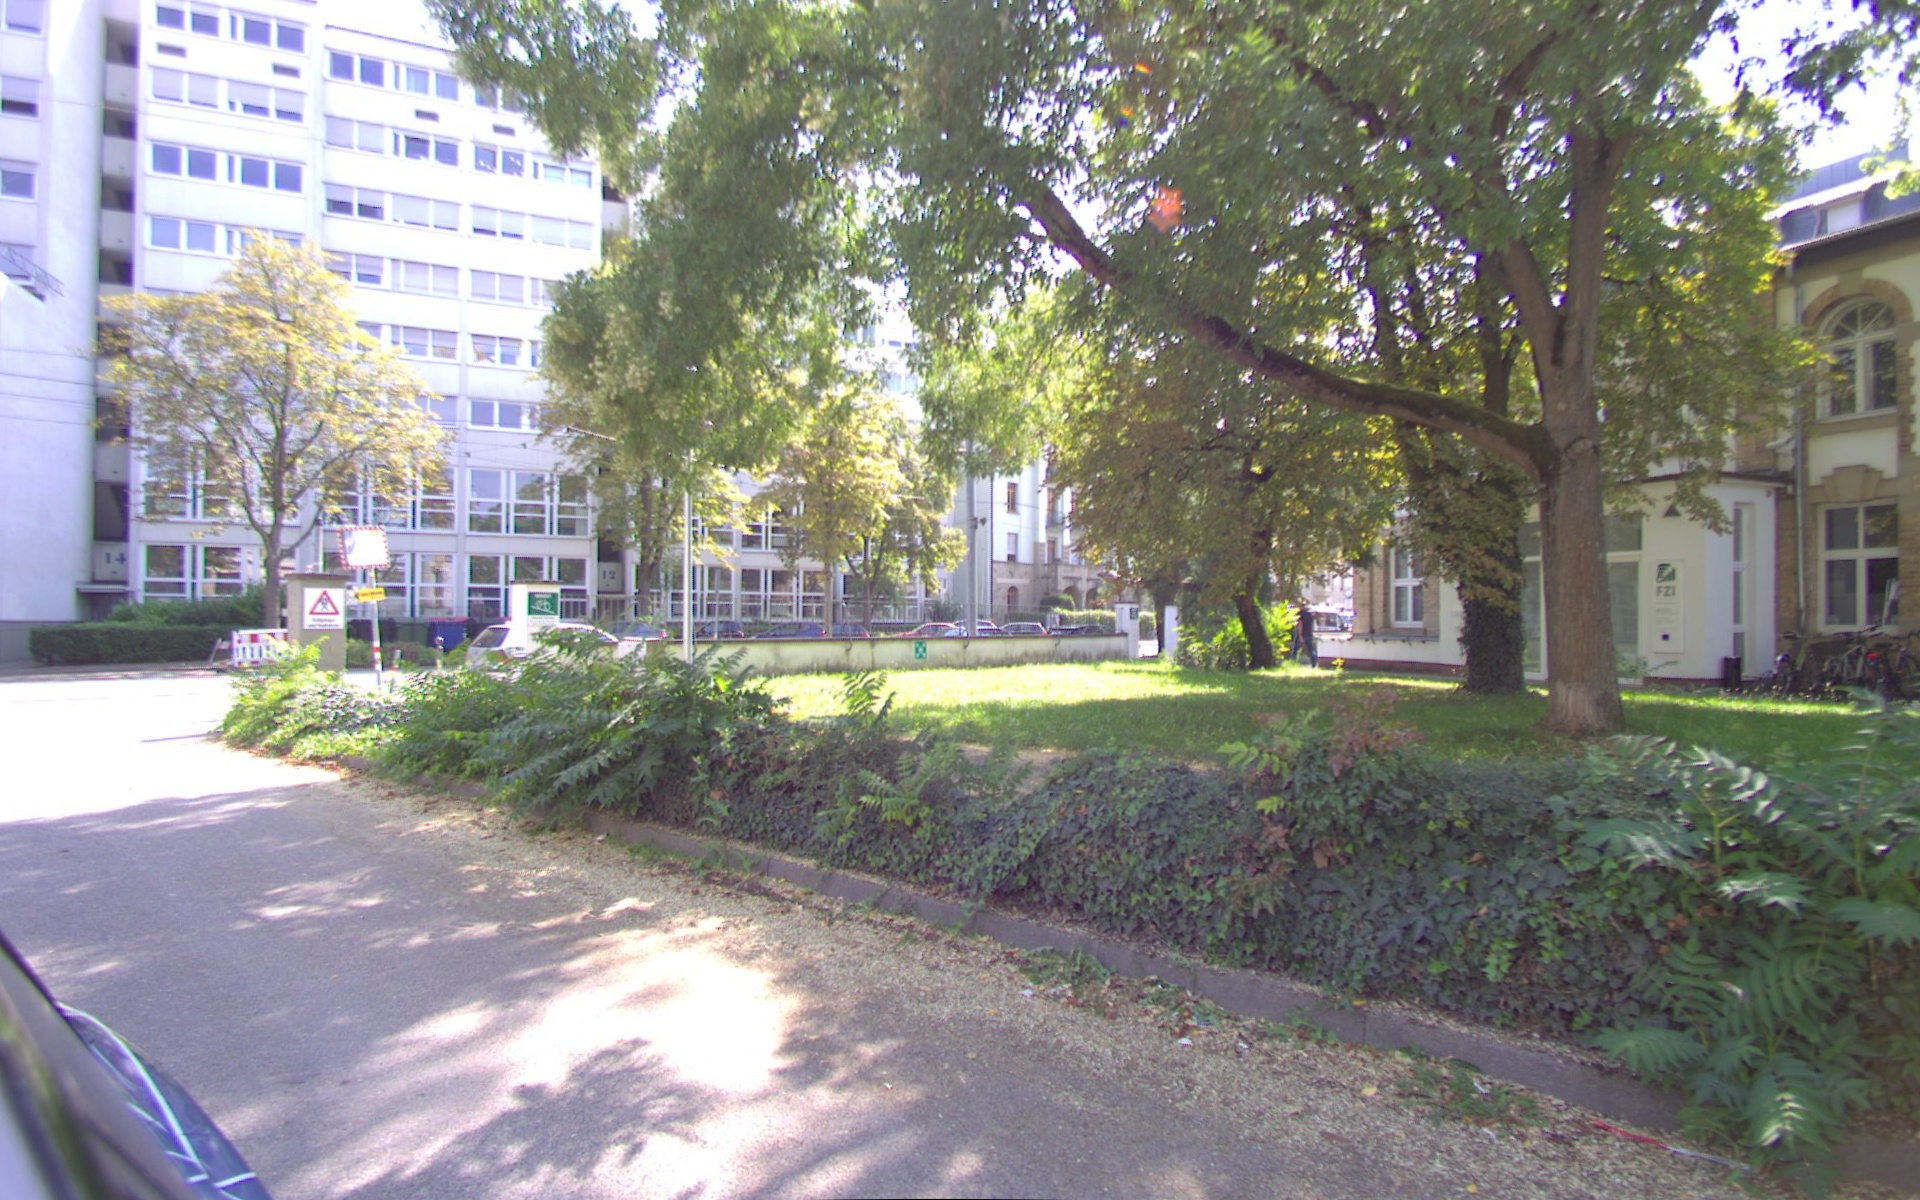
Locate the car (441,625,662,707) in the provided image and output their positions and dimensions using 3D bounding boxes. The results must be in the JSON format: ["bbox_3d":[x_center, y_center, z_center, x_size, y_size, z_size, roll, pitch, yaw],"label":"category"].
[{"bbox_3d":[-8.042,1.255,20.136,1.797,1.457,3.681,-3,-3,42],"label":"car"}]

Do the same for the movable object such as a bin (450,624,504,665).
[{"bbox_3d":[-19.251,1.758,40.371,1.686,1.571,1.336,-2,-2,39],"label":"movable object such as a bin"}]

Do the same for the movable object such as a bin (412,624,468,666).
[{"bbox_3d":[-20.080,1.723,39.063,1.686,1.571,1.336,-2,-2,39],"label":"movable object such as a bin"}]

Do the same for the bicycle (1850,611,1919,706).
[{"bbox_3d":[14.265,0.845,14.787,2.482,1.312,0.774,1,-2,-20],"label":"bicycle"}]

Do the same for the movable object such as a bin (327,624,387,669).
[{"bbox_3d":[-21.720,1.649,36.473,1.686,1.571,1.336,-2,-2,39],"label":"movable object such as a bin"}]

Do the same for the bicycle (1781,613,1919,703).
[{"bbox_3d":[13.834,0.875,15.487,2.482,1.312,0.774,1,-2,-20],"label":"bicycle"}]

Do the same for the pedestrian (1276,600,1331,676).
[{"bbox_3d":[8.546,0.948,25.214,0.723,1.842,1.134,1,-2,-21],"label":"pedestrian"}]

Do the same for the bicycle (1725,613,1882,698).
[{"bbox_3d":[13.647,0.882,16.369,2.482,1.312,0.774,1,-2,-20],"label":"bicycle"}]

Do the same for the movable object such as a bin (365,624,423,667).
[{"bbox_3d":[-21.175,1.691,37.864,1.686,1.571,1.336,-2,-2,39],"label":"movable object such as a bin"}]

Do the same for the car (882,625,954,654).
[{"bbox_3d":[-2.161,2.018,52.087,3.618,1.463,1.677,1,-2,-1],"label":"car"}]

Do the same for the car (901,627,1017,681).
[{"bbox_3d":[0.014,1.594,30.817,1.645,1.523,3.592,-1,-2,40],"label":"car"}]

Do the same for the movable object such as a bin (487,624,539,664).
[{"bbox_3d":[-18.317,1.786,41.489,1.686,1.571,1.336,-2,-2,39],"label":"movable object such as a bin"}]

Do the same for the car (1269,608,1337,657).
[{"bbox_3d":[17.523,1.630,51.572,1.998,2.383,3.947,0,-2,40],"label":"car"}]
